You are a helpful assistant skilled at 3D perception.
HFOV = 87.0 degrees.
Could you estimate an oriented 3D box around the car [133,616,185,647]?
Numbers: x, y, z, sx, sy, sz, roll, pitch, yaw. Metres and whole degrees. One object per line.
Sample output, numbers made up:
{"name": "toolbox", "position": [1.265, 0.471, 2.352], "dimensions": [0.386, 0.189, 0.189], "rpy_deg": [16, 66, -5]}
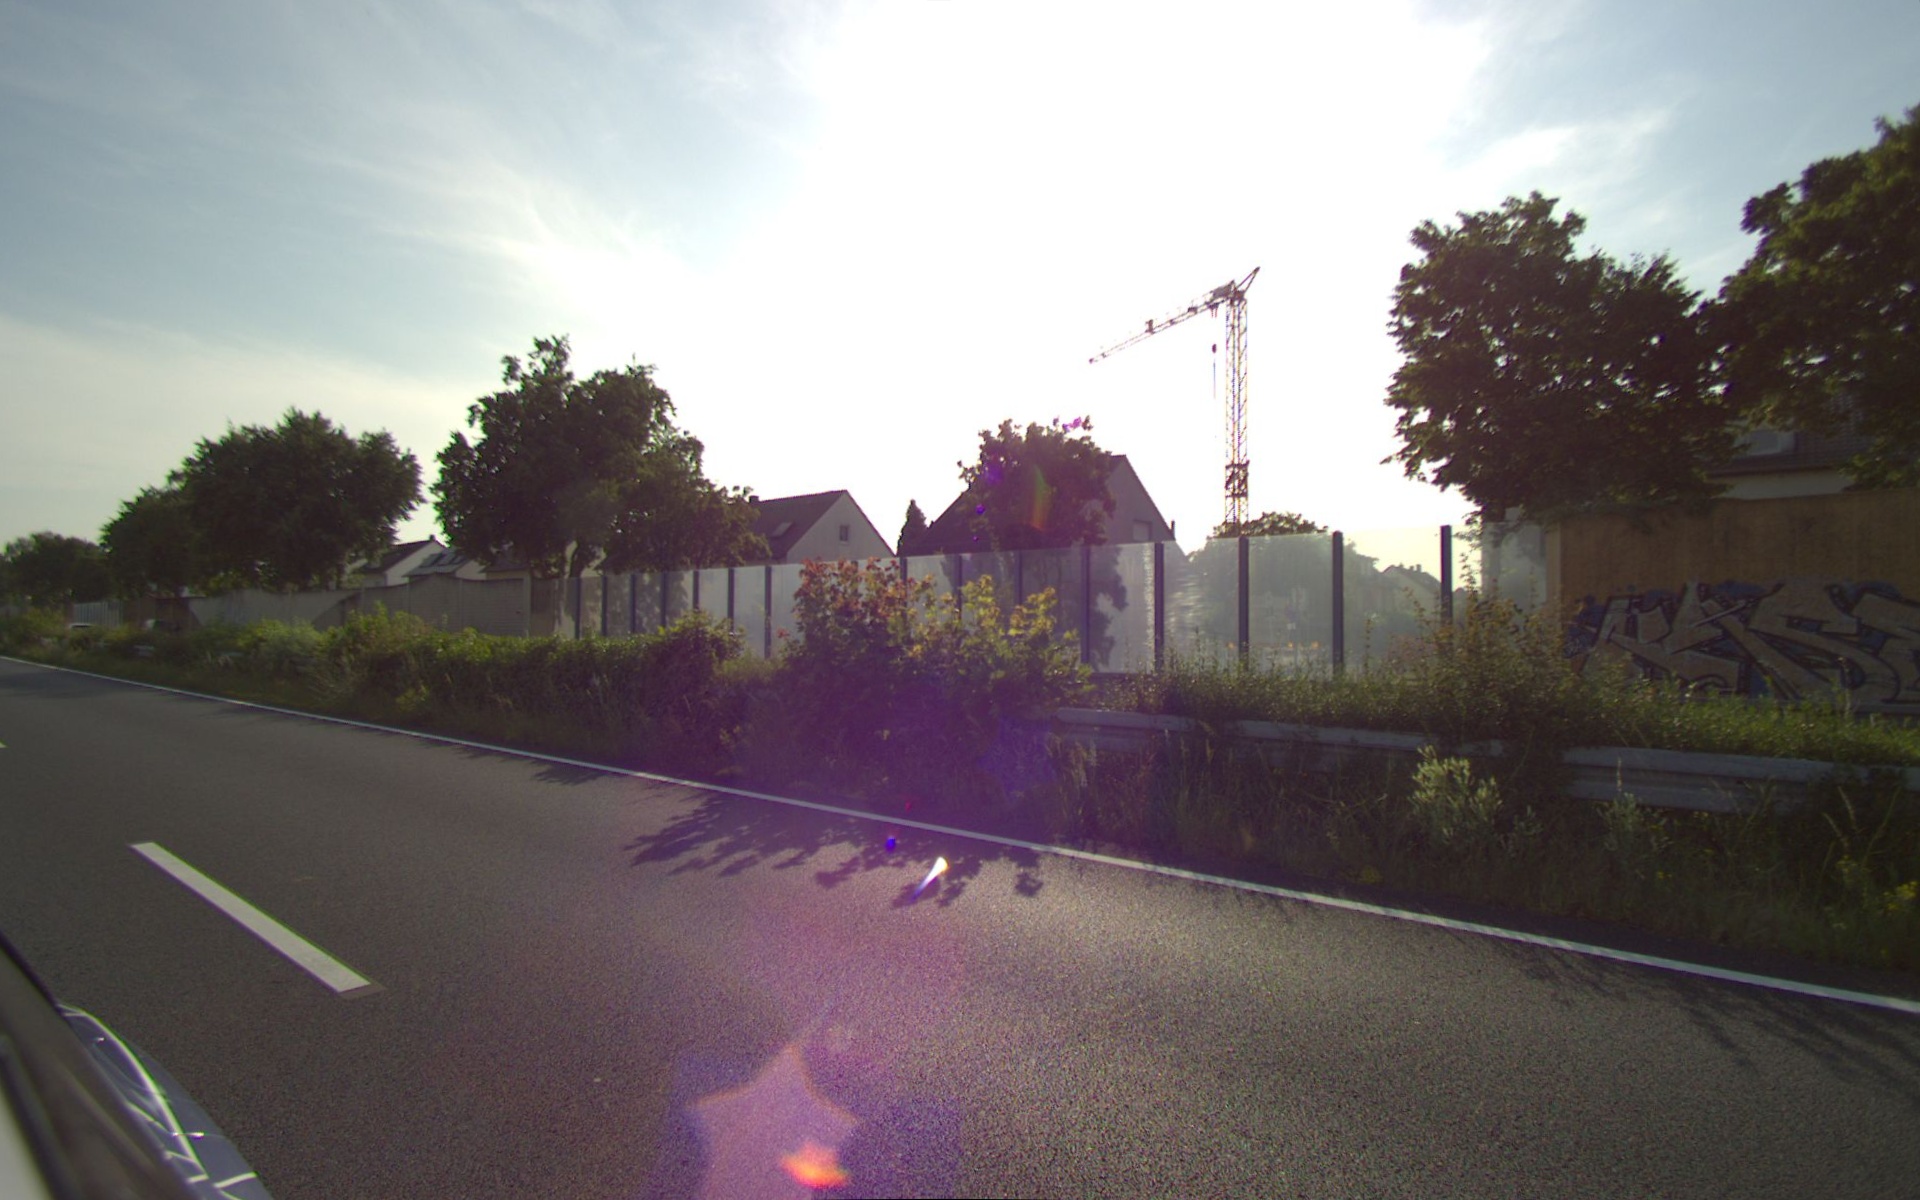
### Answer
{"name": "car", "position": [-50.327, 1.953, 63.587], "dimensions": [4.298, 1.808, 1.818], "rpy_deg": [-1, 0, 41]}

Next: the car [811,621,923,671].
{"name": "car", "position": [-3.944, 1.853, 42.373], "dimensions": [4.912, 1.933, 1.767], "rpy_deg": [-1, 0, 41]}
